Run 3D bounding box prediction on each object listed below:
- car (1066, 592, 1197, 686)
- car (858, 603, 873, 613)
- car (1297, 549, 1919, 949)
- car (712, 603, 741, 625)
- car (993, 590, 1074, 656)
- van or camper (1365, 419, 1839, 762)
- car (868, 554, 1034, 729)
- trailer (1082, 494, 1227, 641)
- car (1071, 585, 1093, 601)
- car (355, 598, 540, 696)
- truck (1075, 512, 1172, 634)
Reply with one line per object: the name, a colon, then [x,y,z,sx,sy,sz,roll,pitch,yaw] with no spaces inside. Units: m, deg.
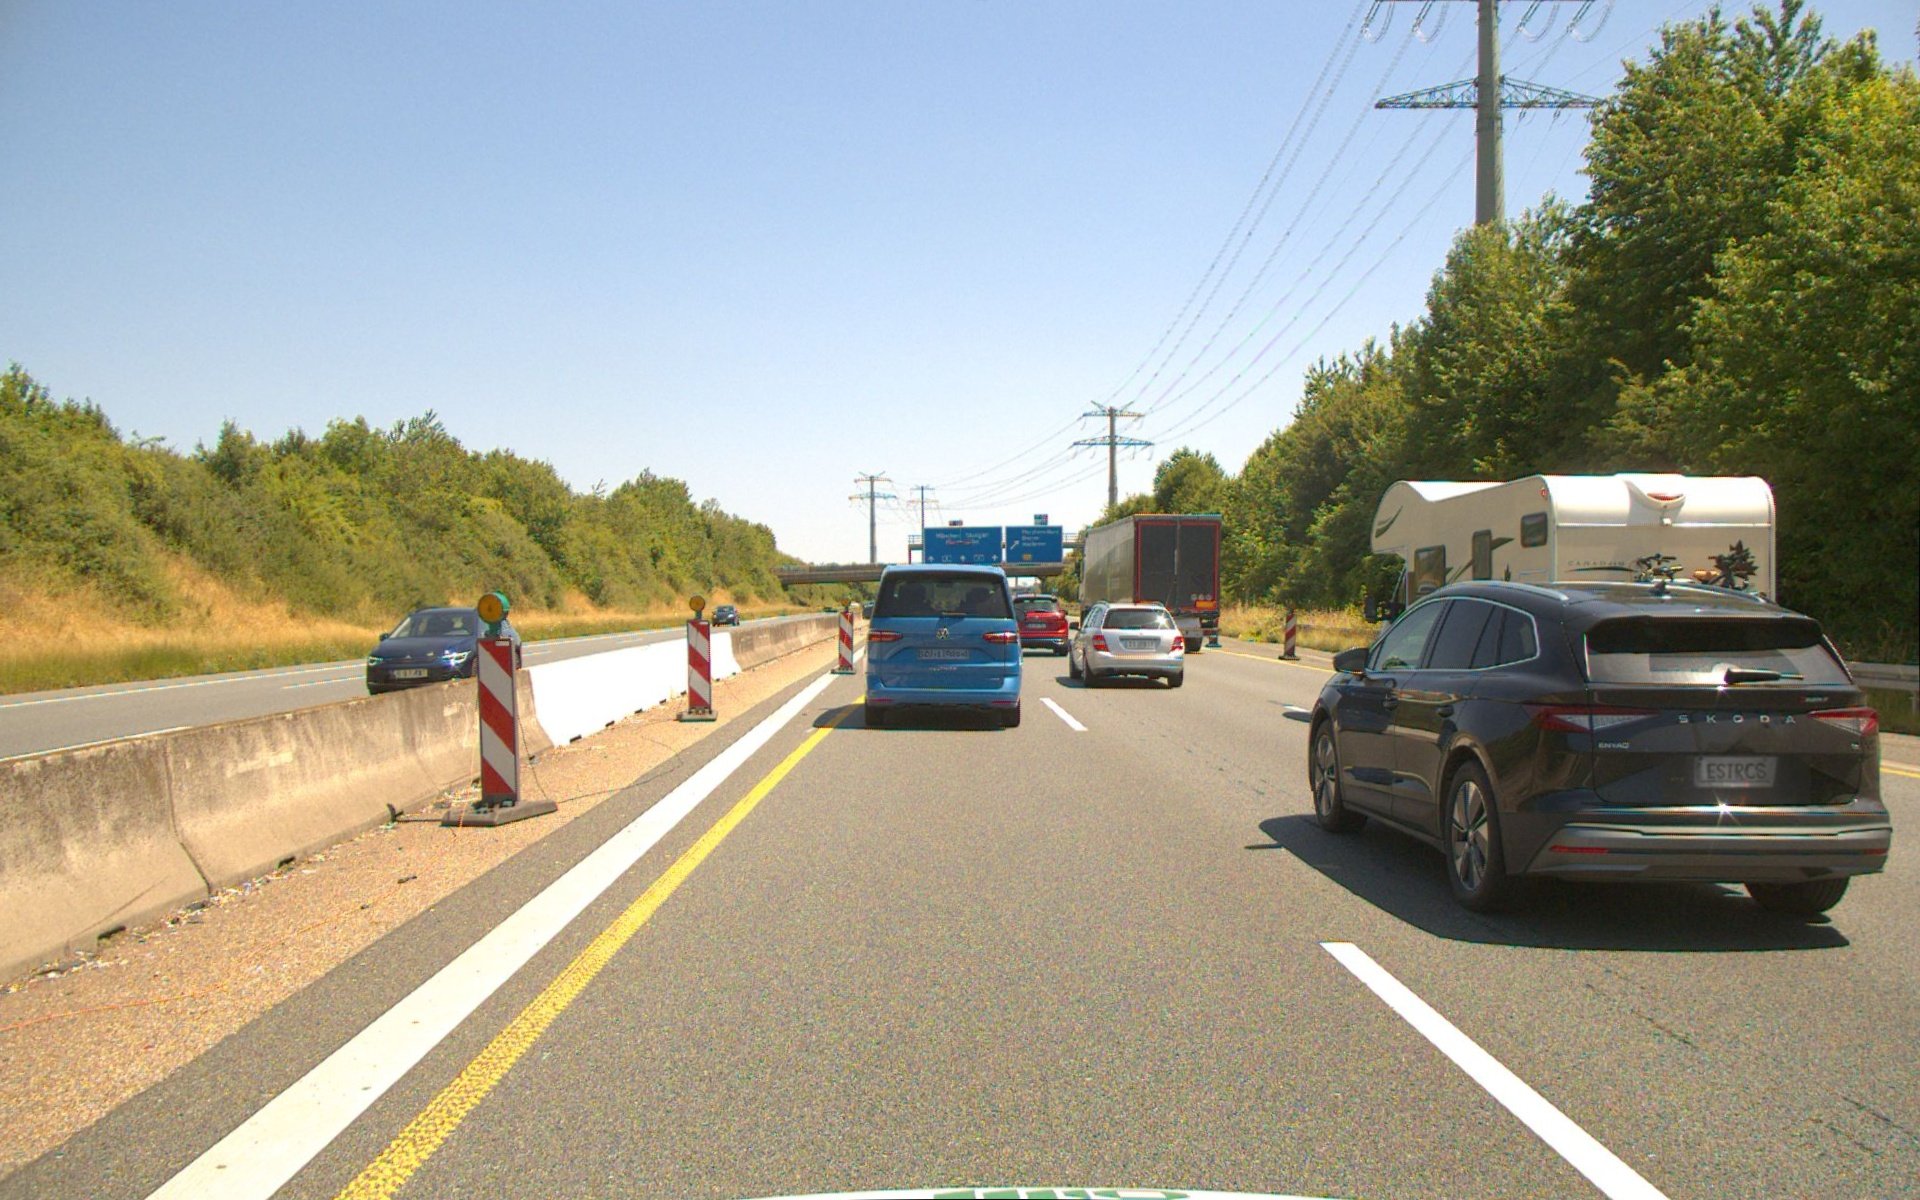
car: [3.016,0.665,29.922,1.735,1.544,4.358,1,0,-2]
car: [-14.490,1.193,253.637,1.953,1.422,4.000,-2,0,0]
car: [3.277,0.648,9.305,1.667,1.684,4.427,1,0,-2]
car: [-16.794,0.991,119.138,1.674,1.490,3.848,-2,0,-2]
car: [1.953,0.601,45.324,1.837,1.700,4.358,1,0,-2]
van or camper: [6.819,-0.078,18.951,2.321,3.097,7.631,1,0,-1]
car: [-0.183,0.473,20.852,1.837,1.945,4.358,1,0,-2]
trailer: [6.005,-0.898,53.437,2.727,4.118,13.107,1,0,-2]
car: [13.331,-0.748,181.202,1.837,1.700,4.358,1,0,-2]
car: [-8.750,0.739,28.642,1.824,1.516,4.492,-1,0,-1]
truck: [5.808,-0.909,59.628,2.678,4.118,5.791,1,0,-2]
